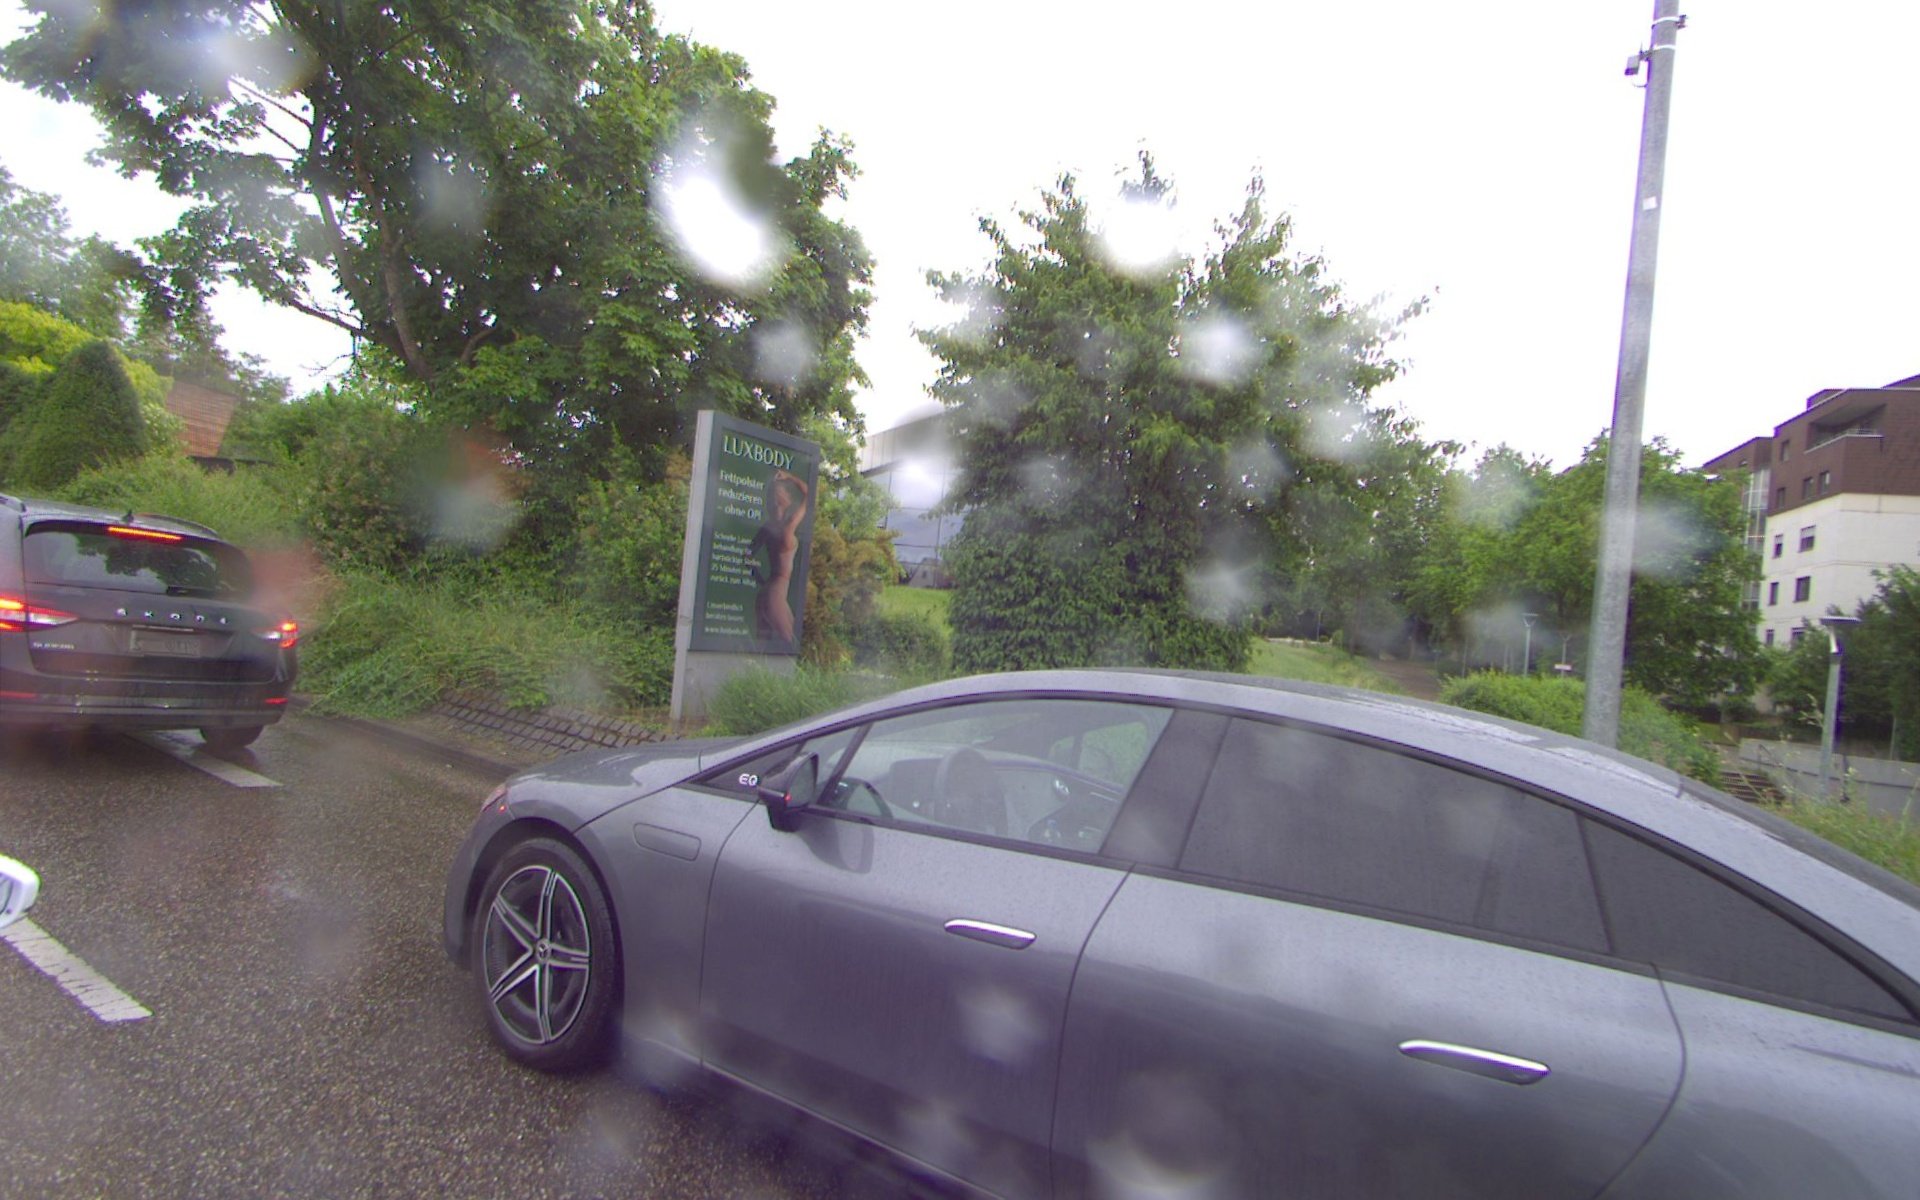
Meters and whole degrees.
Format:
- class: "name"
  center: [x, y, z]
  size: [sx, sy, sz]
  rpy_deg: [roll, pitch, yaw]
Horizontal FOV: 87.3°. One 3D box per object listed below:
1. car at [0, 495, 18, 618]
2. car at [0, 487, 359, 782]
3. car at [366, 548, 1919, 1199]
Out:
- class: "car"
  center: [-12.282, -0.677, 10.938]
  size: [4.048, 1.483, 1.842]
  rpy_deg: [7, -2, 31]
- class: "car"
  center: [-6.220, 0.039, 6.851]
  size: [4.279, 1.483, 1.841]
  rpy_deg: [7, -2, 33]
- class: "car"
  center: [0.536, 0.915, 3.013]
  size: [4.727, 1.483, 1.842]
  rpy_deg: [7, -2, 31]
